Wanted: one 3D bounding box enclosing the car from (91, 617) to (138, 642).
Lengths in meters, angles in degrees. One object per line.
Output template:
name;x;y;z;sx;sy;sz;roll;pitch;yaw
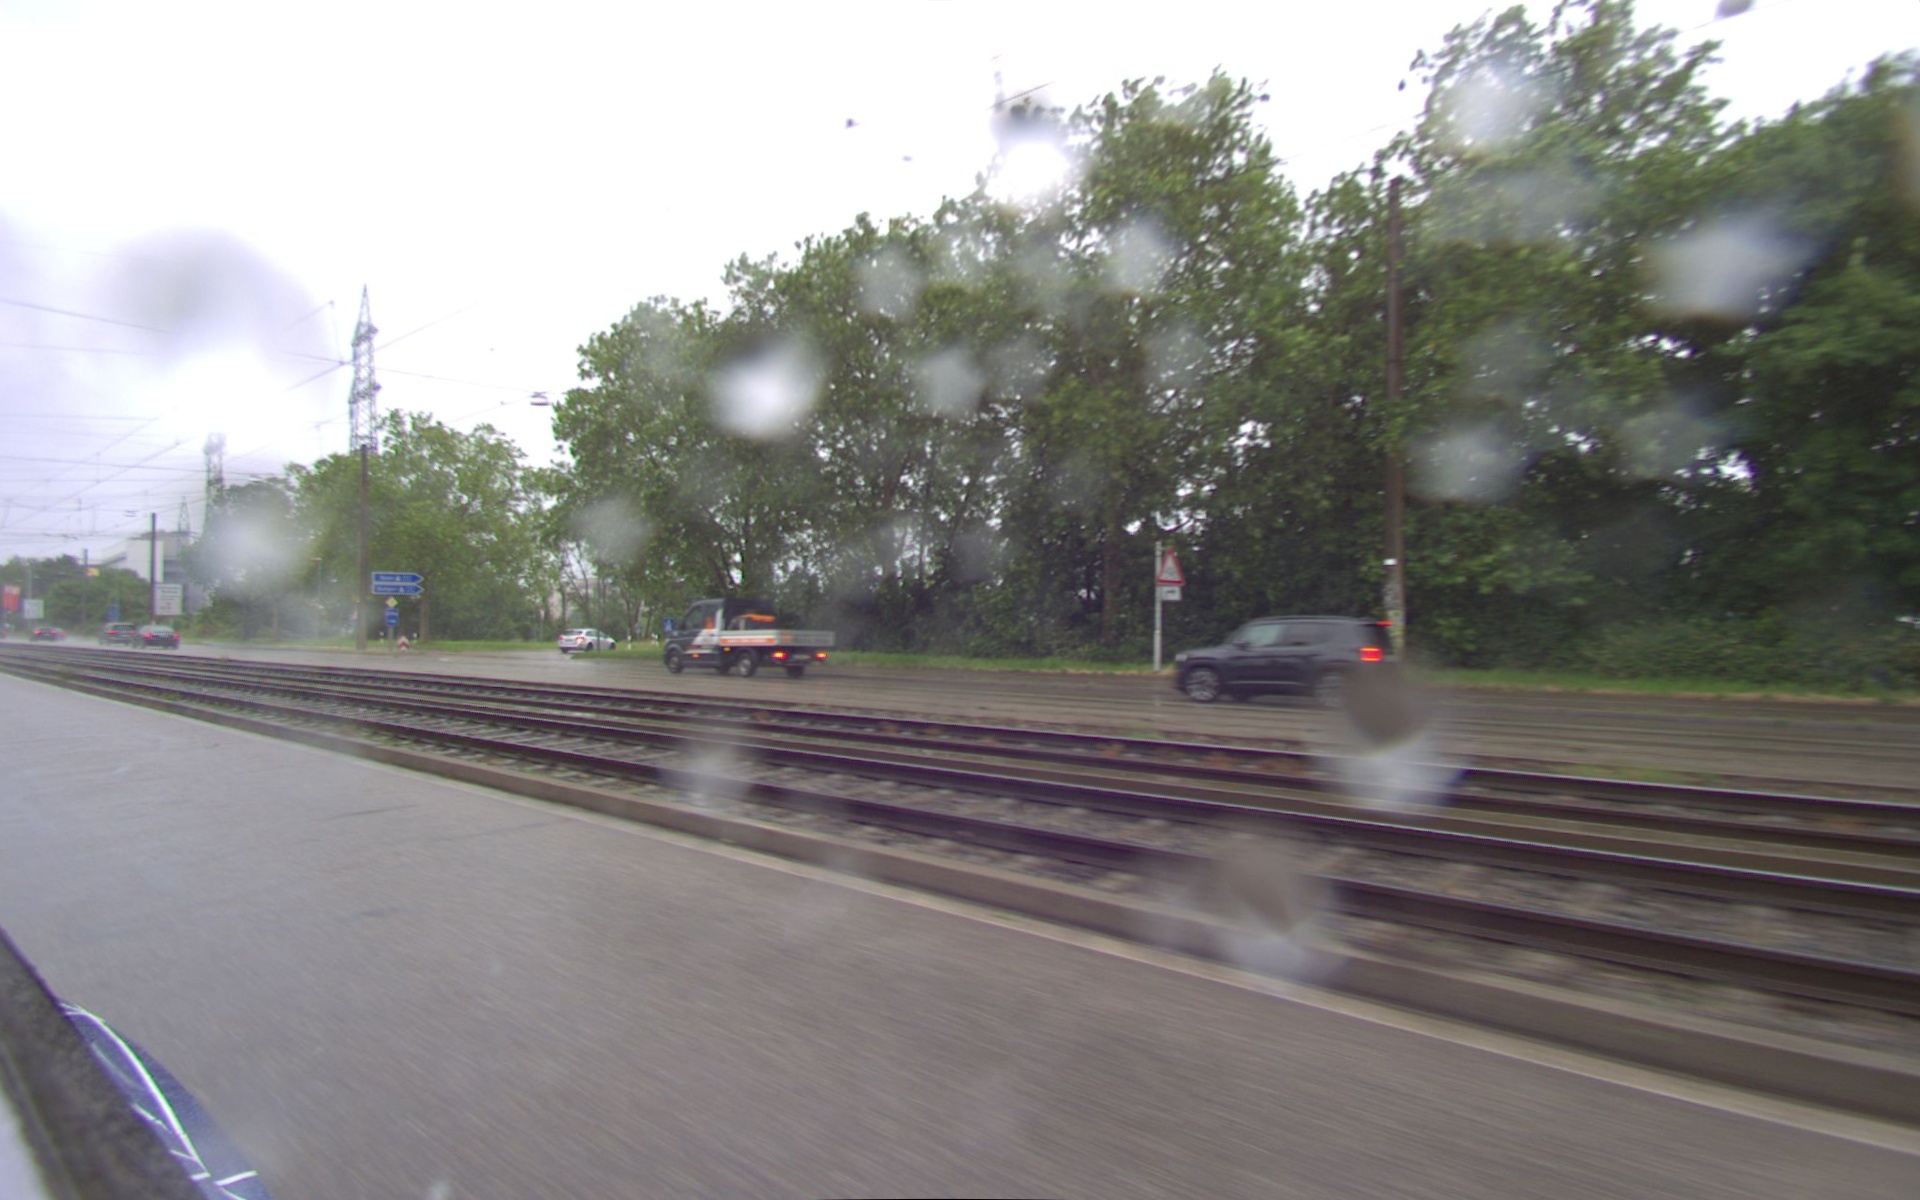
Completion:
car;-64.563;2.277;77.266;6.101;1.719;1.801;-2;0;41

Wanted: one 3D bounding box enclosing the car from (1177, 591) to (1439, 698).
car;6.347;0.790;18.759;4.163;1.730;1.821;-2;0;44

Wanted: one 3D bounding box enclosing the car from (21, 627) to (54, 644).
car;-90.661;3.517;99.435;5.310;1.561;1.772;-2;0;41

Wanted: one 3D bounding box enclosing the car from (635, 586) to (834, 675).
car;-6.923;0.927;30.435;6.986;2.360;2.077;-2;0;41

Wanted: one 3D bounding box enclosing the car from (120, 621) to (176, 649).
car;-51.989;2.255;64.747;5.678;1.597;1.758;-2;0;41

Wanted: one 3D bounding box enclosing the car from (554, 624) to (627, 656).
car;-22.661;2.414;62.220;1.807;1.719;5.001;-2;0;12
